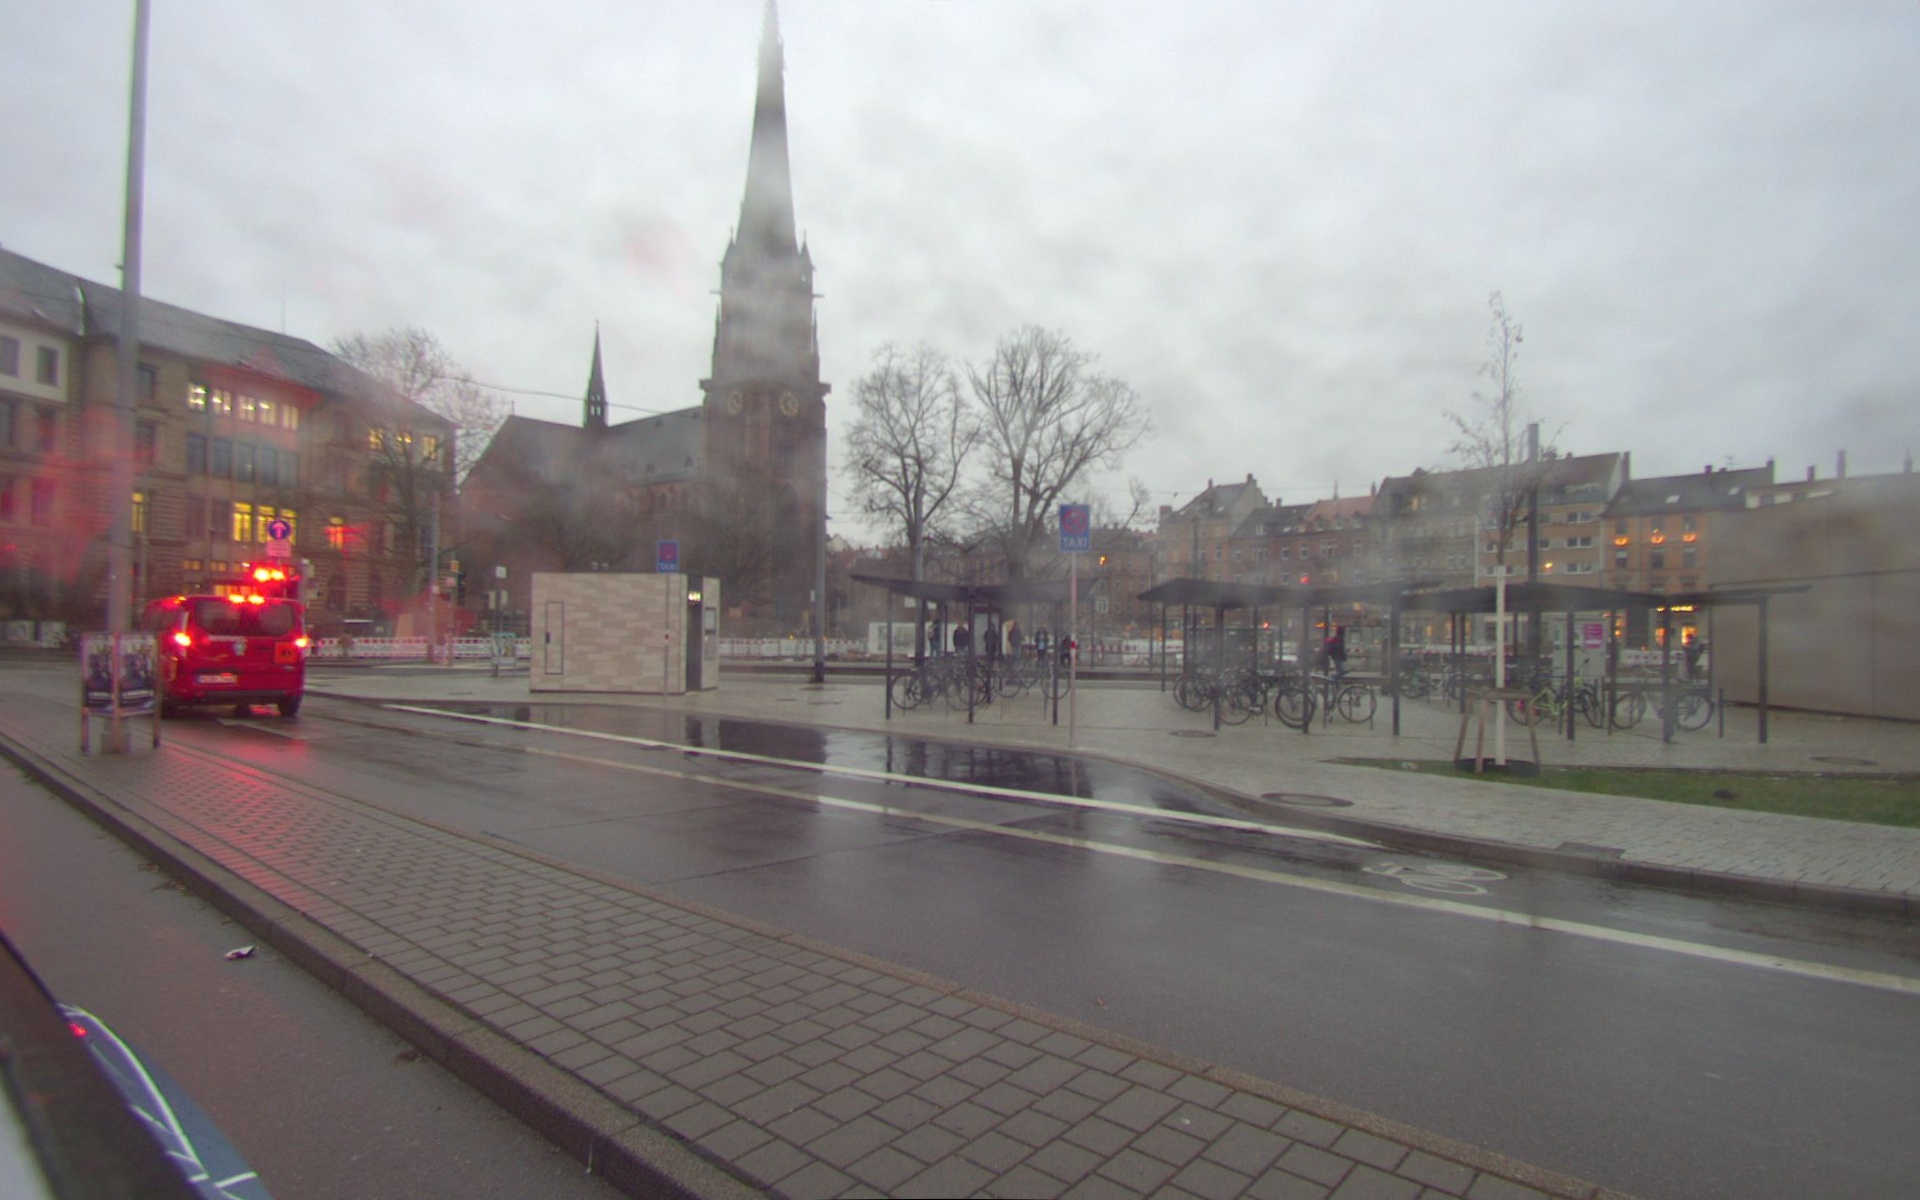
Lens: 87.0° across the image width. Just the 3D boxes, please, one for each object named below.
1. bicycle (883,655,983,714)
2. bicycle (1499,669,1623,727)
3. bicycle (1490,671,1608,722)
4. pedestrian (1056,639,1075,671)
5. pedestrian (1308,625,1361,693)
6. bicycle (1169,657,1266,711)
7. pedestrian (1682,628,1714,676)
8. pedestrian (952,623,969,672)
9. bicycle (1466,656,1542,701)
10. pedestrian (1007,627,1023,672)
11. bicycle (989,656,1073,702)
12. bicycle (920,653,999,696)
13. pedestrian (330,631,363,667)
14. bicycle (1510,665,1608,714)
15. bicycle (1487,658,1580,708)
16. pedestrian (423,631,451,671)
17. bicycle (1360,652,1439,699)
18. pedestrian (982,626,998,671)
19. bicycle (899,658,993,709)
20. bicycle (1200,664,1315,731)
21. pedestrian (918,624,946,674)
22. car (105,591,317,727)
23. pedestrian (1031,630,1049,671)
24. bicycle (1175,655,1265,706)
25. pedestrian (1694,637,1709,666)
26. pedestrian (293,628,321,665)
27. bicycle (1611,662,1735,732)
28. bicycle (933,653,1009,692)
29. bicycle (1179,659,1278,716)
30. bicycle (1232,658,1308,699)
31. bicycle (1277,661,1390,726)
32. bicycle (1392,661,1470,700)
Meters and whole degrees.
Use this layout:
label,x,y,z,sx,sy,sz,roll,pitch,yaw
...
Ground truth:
label,x,y,z,sx,sy,sz,roll,pitch,yaw
bicycle,-0.533,1.649,19.868,1.905,1.078,0.473,1,-1,11
bicycle,11.131,1.809,18.785,1.905,0.983,0.473,1,-1,11
bicycle,11.372,1.858,19.573,1.905,0.898,0.473,1,-1,11
pedestrian,3.986,2.067,38.325,0.610,1.165,0.806,-1,0,-1
pedestrian,10.065,1.584,27.255,1.053,1.778,1.010,0,-3,4
bicycle,5.436,1.768,21.402,1.899,1.078,0.474,1,-1,2
pedestrian,25.926,1.816,35.573,0.689,1.679,0.529,1,-3,-10
pedestrian,0.009,1.797,38.580,0.619,1.808,0.672,-1,0,-1
bicycle,13.238,1.911,24.665,1.551,1.044,0.521,1,-1,1
pedestrian,2.073,1.851,38.115,0.543,1.648,0.571,-1,0,-1
bicycle,1.644,1.817,23.424,1.905,0.993,0.473,1,-1,11
bicycle,-0.010,1.824,24.870,1.905,0.993,0.473,1,-1,11
pedestrian,-29.312,2.346,48.331,1.199,1.673,0.768,-1,0,21
bicycle,12.905,1.914,21.832,1.751,0.963,0.473,1,-1,11
bicycle,13.258,1.904,23.418,1.810,1.081,0.474,1,-1,8
pedestrian,-25.470,2.478,49.317,0.961,1.915,0.673,1,-2,5
bicycle,11.189,1.920,25.803,1.780,1.116,0.473,1,-1,11
pedestrian,1.154,1.855,38.653,0.556,1.664,0.540,-1,0,-1
bicycle,-0.282,1.730,21.106,1.905,0.993,0.473,1,-1,11
bicycle,5.261,1.716,17.958,1.905,1.078,0.473,1,-1,11
pedestrian,-1.047,1.811,37.643,0.823,1.808,0.663,-1,0,29
car,-13.215,0.991,17.756,4.640,2.086,1.904,-1,-4,40
pedestrian,3.039,1.906,38.333,0.580,1.513,0.675,-1,0,-1
bicycle,5.854,1.804,22.851,1.905,1.078,0.473,1,-1,11
pedestrian,51.799,3.623,70.720,0.579,2.029,0.707,3,-4,-40
pedestrian,-32.681,2.316,50.670,0.884,1.830,0.675,1,-2,-4
bicycle,12.694,1.720,18.047,1.731,1.165,0.617,1,-1,1
bicycle,0.276,1.864,26.128,1.905,0.917,0.473,1,-1,11
bicycle,5.449,1.770,20.619,1.905,1.078,0.473,1,-1,11
bicycle,7.667,1.937,25.072,1.729,0.946,0.474,1,-1,7
bicycle,6.950,1.730,18.868,1.905,1.129,0.473,1,-1,11
bicycle,11.626,1.987,24.993,1.672,0.898,0.474,1,-1,5
